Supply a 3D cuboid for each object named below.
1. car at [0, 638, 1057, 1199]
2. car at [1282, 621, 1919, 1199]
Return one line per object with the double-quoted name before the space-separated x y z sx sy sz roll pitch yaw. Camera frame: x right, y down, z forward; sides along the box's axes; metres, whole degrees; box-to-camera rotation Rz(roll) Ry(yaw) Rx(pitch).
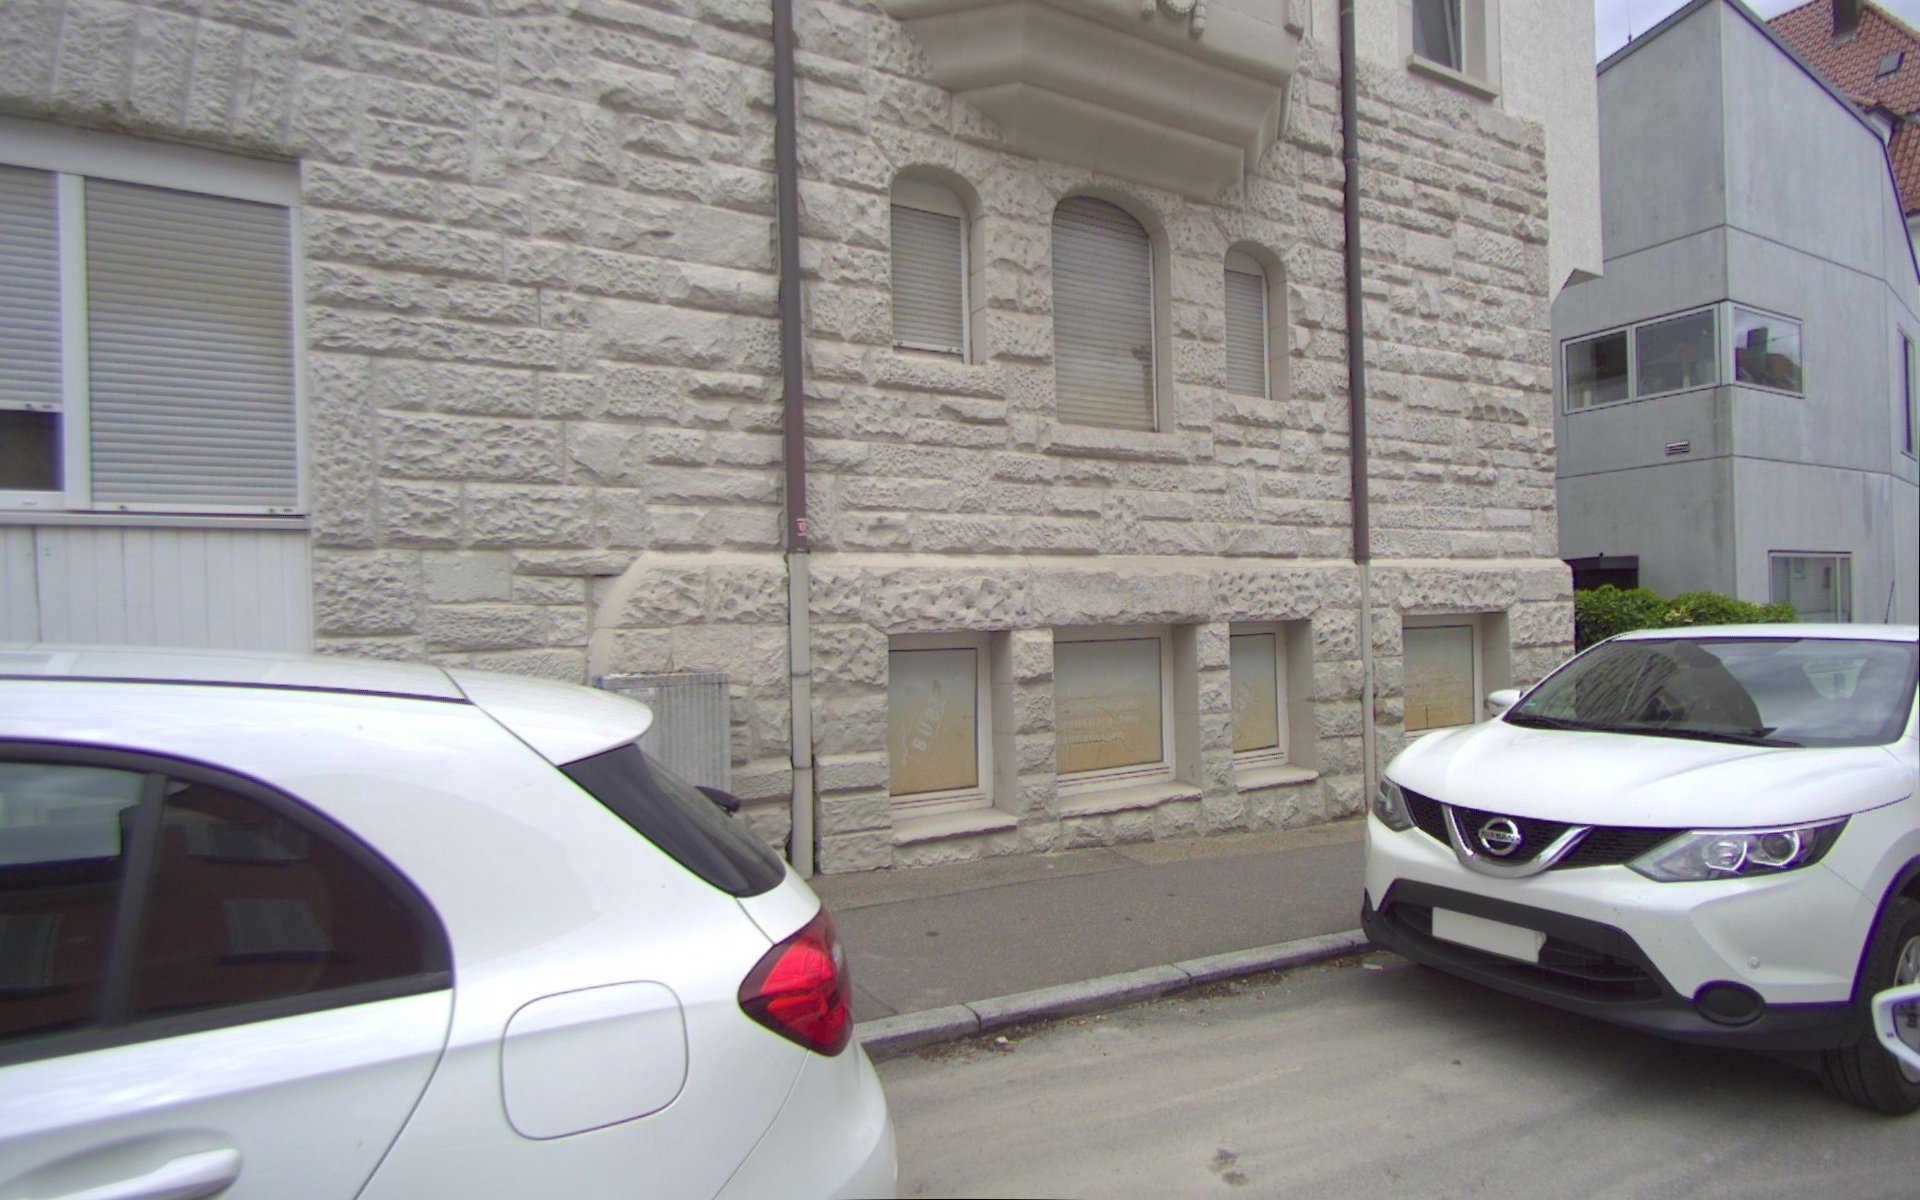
"car" -2.057 0.774 1.216 4.193 1.432 1.690 1 -2 -32
"car" 3.577 0.881 4.481 4.193 1.535 1.835 1 -2 -32
